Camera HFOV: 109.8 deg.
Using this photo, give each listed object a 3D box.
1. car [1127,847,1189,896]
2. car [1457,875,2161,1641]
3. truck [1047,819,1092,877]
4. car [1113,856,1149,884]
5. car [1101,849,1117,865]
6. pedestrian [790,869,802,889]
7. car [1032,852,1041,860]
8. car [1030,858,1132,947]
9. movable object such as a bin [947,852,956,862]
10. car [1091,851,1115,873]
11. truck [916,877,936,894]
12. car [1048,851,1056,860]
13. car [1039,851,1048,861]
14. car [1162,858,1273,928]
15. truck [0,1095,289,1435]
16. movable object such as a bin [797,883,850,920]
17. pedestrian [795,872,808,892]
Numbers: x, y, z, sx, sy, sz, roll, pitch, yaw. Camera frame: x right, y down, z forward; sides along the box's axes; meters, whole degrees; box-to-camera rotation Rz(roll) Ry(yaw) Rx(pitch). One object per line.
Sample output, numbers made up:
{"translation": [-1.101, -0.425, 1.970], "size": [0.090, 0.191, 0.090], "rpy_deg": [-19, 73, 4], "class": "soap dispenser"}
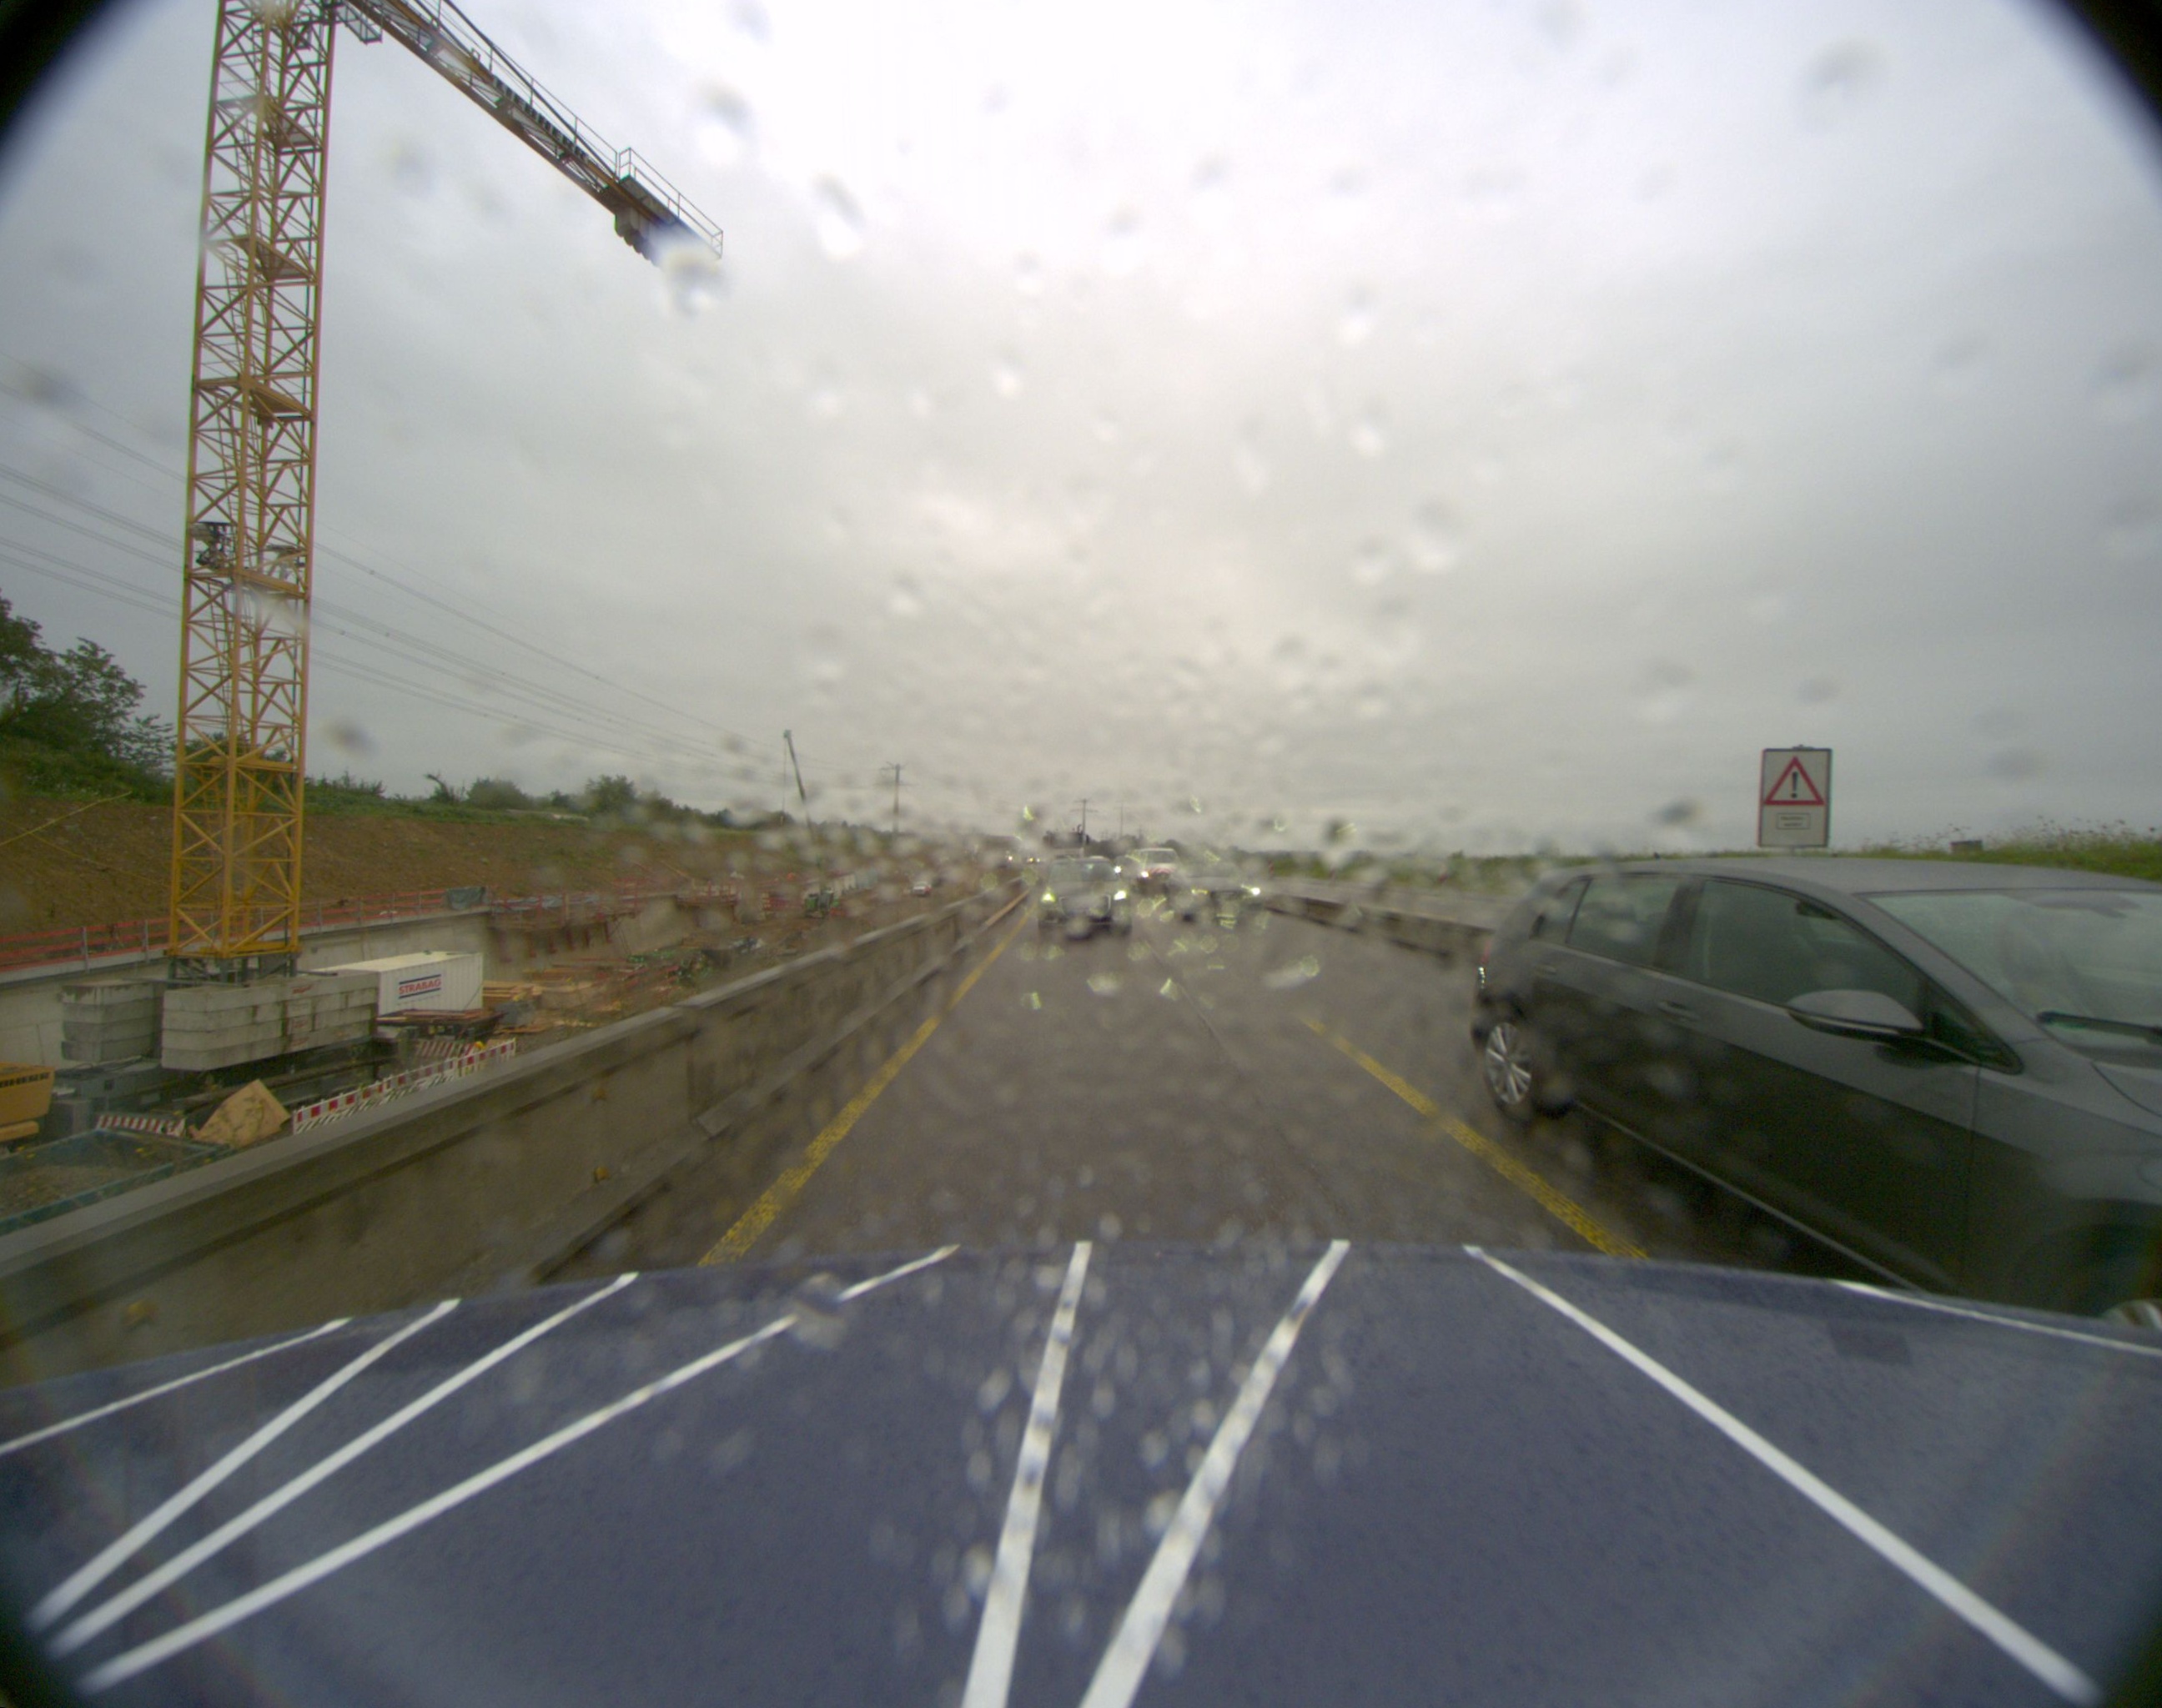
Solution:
{"translation": [3.224, 0.670, 32.790], "size": [2.160, 1.848, 5.179], "rpy_deg": [-2, 1, 1], "class": "car"}
{"translation": [3.047, 0.878, 2.483], "size": [1.653, 1.414, 4.080], "rpy_deg": [-1, 1, 1], "class": "car"}
{"translation": [-0.836, -0.457, 53.435], "size": [2.837, 3.617, 9.117], "rpy_deg": [-2, 1, -1], "class": "truck"}
{"translation": [2.953, 0.916, 45.561], "size": [1.800, 1.521, 4.066], "rpy_deg": [-2, 1, -1], "class": "car"}
{"translation": [3.440, 0.395, 94.622], "size": [1.799, 1.850, 4.286], "rpy_deg": [-2, 1, 1], "class": "car"}
{"translation": [-34.592, 3.045, 92.089], "size": [0.918, 2.233, 1.005], "rpy_deg": [-6, 2, -7], "class": "pedestrian"}
{"translation": [-10.600, 0.460, 180.772], "size": [1.800, 1.850, 4.285], "rpy_deg": [-2, 1, -1], "class": "car"}
{"translation": [0.032, 0.895, 15.953], "size": [1.799, 1.524, 4.307], "rpy_deg": [-2, 0, 1], "class": "car"}
{"translation": [-38.329, 0.880, 224.738], "size": [2.253, 2.703, 3.997], "rpy_deg": [-2, 1, -7], "class": "movable object such as a bin"}
{"translation": [1.904, 0.665, 67.116], "size": [1.800, 1.850, 4.285], "rpy_deg": [-2, 1, -2], "class": "car"}
{"translation": [-20.452, 4.161, 100.586], "size": [1.767, 1.860, 5.783], "rpy_deg": [0, 1, -3], "class": "truck"}
{"translation": [-6.854, 0.377, 178.532], "size": [1.800, 1.850, 4.285], "rpy_deg": [-2, 1, -1], "class": "car"}
{"translation": [-7.717, 0.435, 157.929], "size": [1.800, 1.850, 4.285], "rpy_deg": [-2, 1, -2], "class": "car"}
{"translation": [3.206, 0.869, 18.683], "size": [1.800, 1.389, 4.267], "rpy_deg": [-2, 1, -2], "class": "car"}
{"translation": [-16.341, 6.218, 9.298], "size": [2.703, 3.483, 8.955], "rpy_deg": [-1, 1, 12], "class": "truck"}
{"translation": [-25.268, 4.641, 74.844], "size": [3.803, 2.790, 4.848], "rpy_deg": [-1, 6, -4], "class": "movable object such as a bin"}
{"translation": [-33.082, 3.255, 89.907], "size": [0.917, 2.219, 1.005], "rpy_deg": [-6, 2, 0], "class": "pedestrian"}
